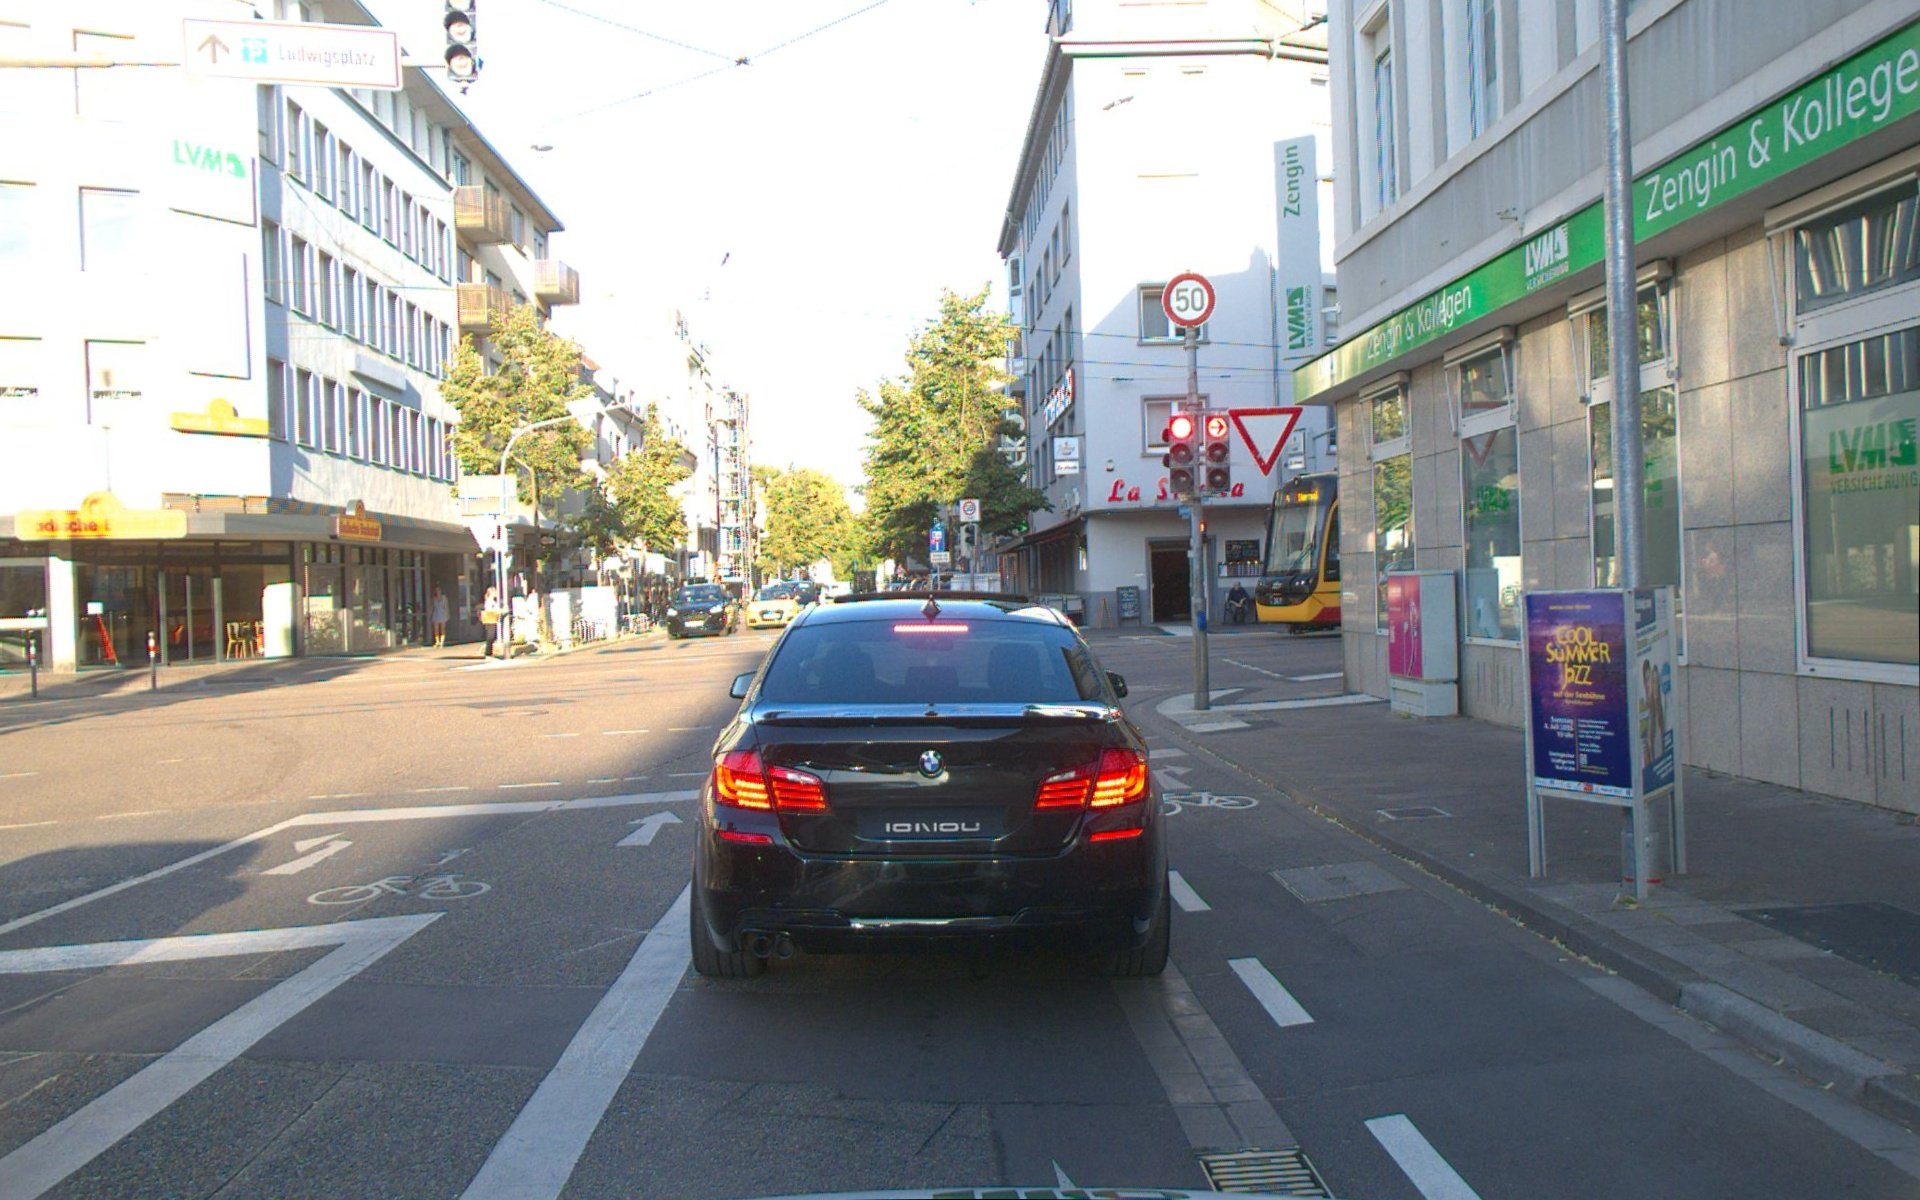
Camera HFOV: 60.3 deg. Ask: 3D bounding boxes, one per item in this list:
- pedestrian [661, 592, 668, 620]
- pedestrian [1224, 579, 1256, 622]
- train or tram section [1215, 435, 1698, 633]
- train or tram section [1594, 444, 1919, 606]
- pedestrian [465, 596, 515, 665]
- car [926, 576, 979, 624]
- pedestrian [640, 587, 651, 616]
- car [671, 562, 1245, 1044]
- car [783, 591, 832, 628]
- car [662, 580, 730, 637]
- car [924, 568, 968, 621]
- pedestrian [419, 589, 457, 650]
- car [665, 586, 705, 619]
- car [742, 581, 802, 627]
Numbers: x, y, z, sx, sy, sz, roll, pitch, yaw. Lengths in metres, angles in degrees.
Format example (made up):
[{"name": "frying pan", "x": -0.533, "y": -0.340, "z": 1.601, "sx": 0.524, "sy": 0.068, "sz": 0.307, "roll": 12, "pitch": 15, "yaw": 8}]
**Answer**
[{"name": "pedestrian", "x": -14.868, "y": 0.300, "z": 83.331, "sx": 0.301, "sy": 1.383, "sz": 0.284, "roll": -2, "pitch": 0, "yaw": -11}, {"name": "pedestrian", "x": 7.849, "y": 0.018, "z": 46.437, "sx": 0.683, "sy": 1.177, "sz": 0.843, "roll": -2, "pitch": 0, "yaw": -4}, {"name": "train or tram section", "x": 11.569, "y": -1.551, "z": 37.508, "sx": 12.498, "sy": 3.932, "sz": 3.047, "roll": -3, "pitch": 1, "yaw": -33}, {"name": "train or tram section", "x": 21.518, "y": -2.016, "z": 43.780, "sx": 10.319, "sy": 3.877, "sz": 3.049, "roll": -3, "pitch": 1, "yaw": -31}, {"name": "pedestrian", "x": -11.104, "y": 0.707, "z": 39.112, "sx": 0.927, "sy": 1.564, "sz": 0.907, "roll": -2, "pitch": 0, "yaw": -6}, {"name": "car", "x": -0.271, "y": 0.006, "z": 54.581, "sx": 1.593, "sy": 1.497, "sz": 3.393, "roll": -1, "pitch": 0, "yaw": -3}, {"name": "pedestrian", "x": -15.794, "y": 0.094, "z": 82.942, "sx": 0.435, "sy": 1.441, "sz": 0.525, "roll": -2, "pitch": 0, "yaw": -4}, {"name": "car", "x": -0.117, "y": 0.649, "z": 7.664, "sx": 1.865, "sy": 1.567, "sz": 4.447, "roll": 1, "pitch": 1, "yaw": -3}, {"name": "car", "x": -5.950, "y": 0.338, "z": 64.328, "sx": 1.701, "sy": 1.315, "sz": 3.993, "roll": -2, "pitch": 1, "yaw": -8}, {"name": "car", "x": -8.259, "y": 0.238, "z": 52.094, "sx": 1.956, "sy": 1.646, "sz": 3.993, "roll": -2, "pitch": 1, "yaw": -8}, {"name": "car", "x": -0.537, "y": -0.212, "z": 60.977, "sx": 1.393, "sy": 1.887, "sz": 3.049, "roll": -1, "pitch": 0, "yaw": -5}, {"name": "pedestrian", "x": -15.044, "y": 0.551, "z": 47.695, "sx": 0.807, "sy": 1.705, "sz": 0.871, "roll": -2, "pitch": 0, "yaw": -3}, {"name": "car", "x": -13.062, "y": 0.116, "z": 78.807, "sx": 1.701, "sy": 1.487, "sz": 3.993, "roll": -2, "pitch": 1, "yaw": -8}, {"name": "car", "x": -6.574, "y": 0.126, "z": 57.558, "sx": 1.956, "sy": 1.467, "sz": 3.993, "roll": -2, "pitch": 1, "yaw": -8}]
